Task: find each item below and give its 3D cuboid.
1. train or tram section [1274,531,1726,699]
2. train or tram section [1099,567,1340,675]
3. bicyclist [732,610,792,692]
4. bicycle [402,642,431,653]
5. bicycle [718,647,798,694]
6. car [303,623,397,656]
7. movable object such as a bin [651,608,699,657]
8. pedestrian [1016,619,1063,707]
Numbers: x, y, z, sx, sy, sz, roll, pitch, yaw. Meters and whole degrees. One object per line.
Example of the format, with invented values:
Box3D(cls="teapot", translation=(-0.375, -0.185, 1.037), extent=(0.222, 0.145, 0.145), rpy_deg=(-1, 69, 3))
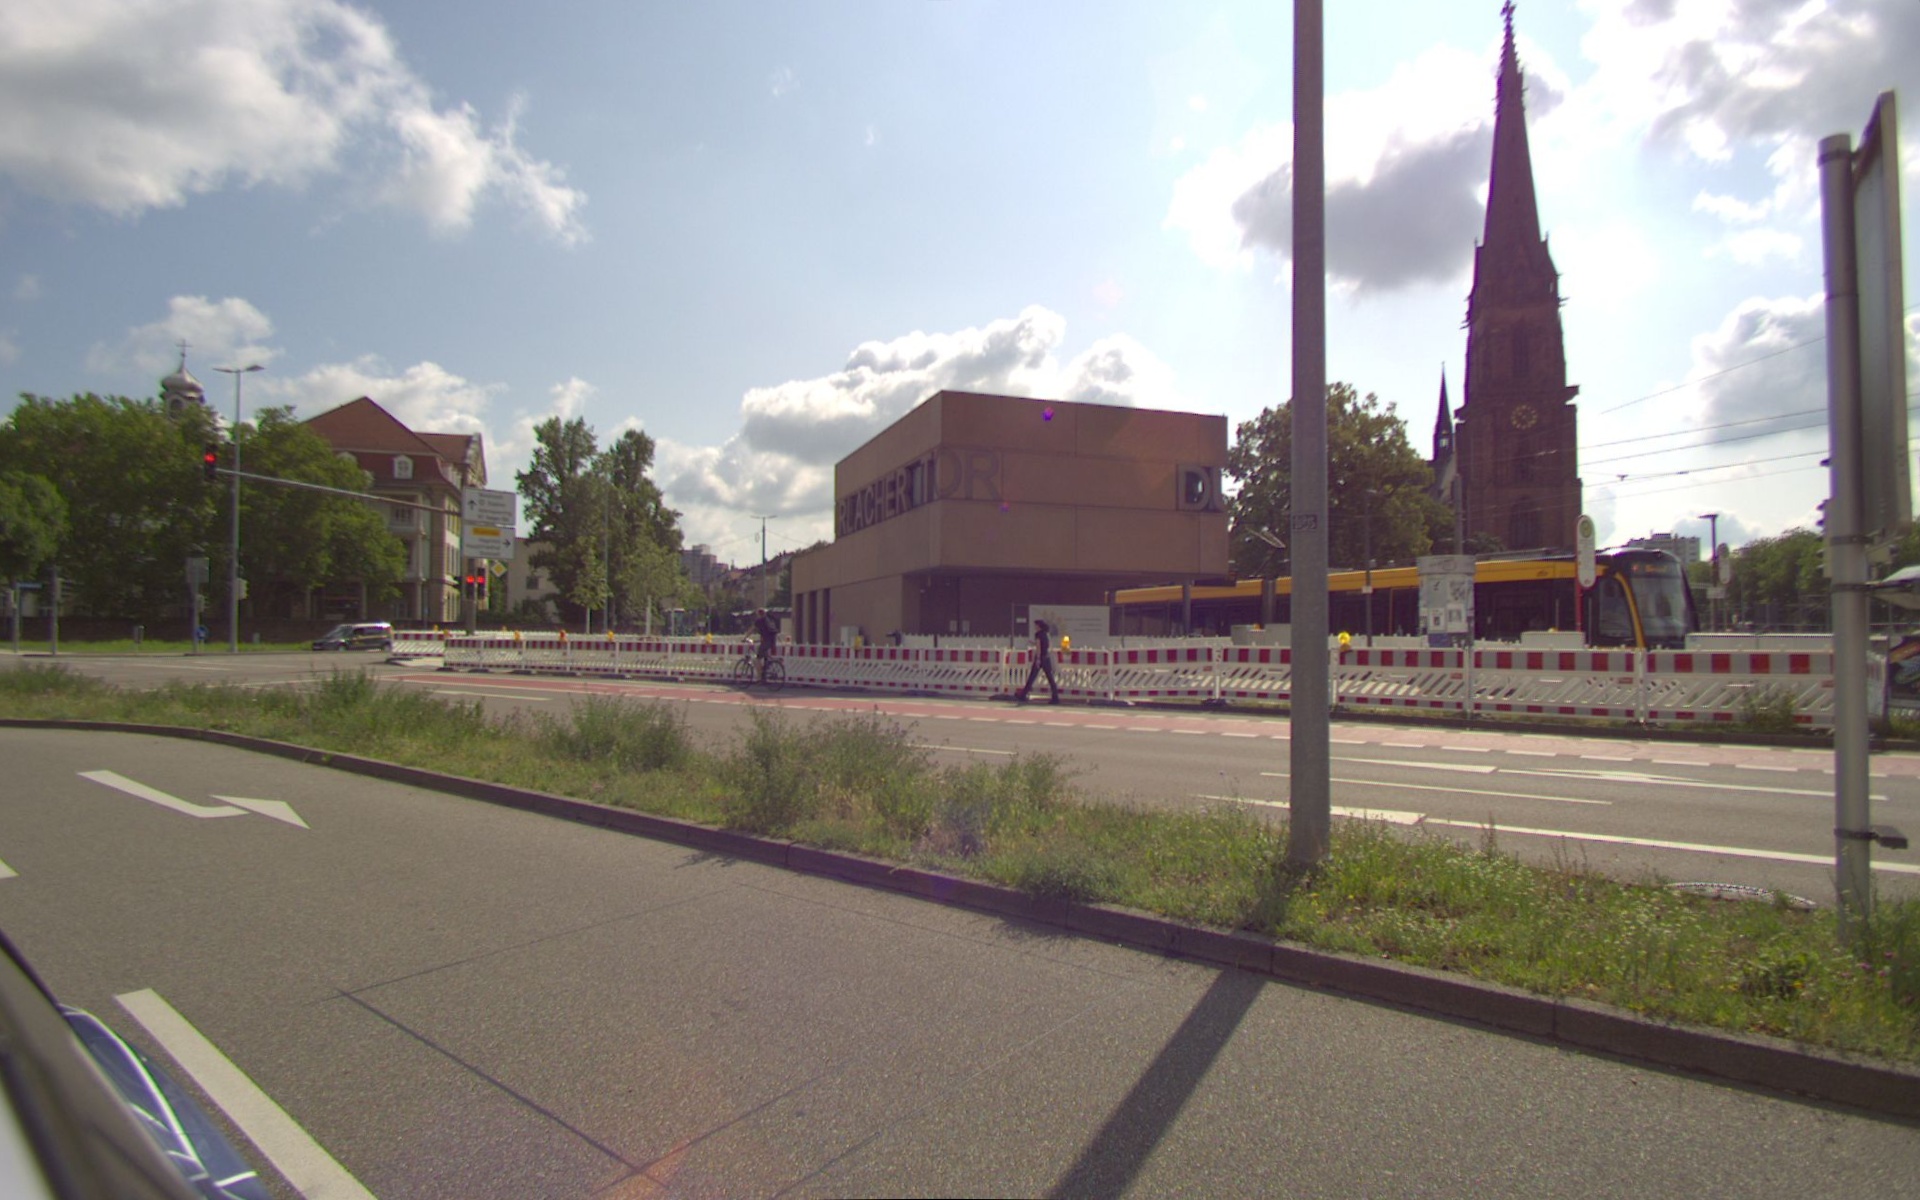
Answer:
Box3D(cls="train or tram section", translation=(13.705, 0.530, 27.976), extent=(2.622, 3.599, 12.452), rpy_deg=(1, -2, -19))
Box3D(cls="train or tram section", translation=(9.533, 0.894, 39.733), extent=(2.585, 3.591, 12.452), rpy_deg=(1, -2, -20))
Box3D(cls="bicyclist", translation=(-4.548, 1.161, 23.257), extent=(1.157, 1.836, 0.803), rpy_deg=(-1, -2, 37))
Box3D(cls="bicycle", translation=(-45.145, 3.927, 84.031), extent=(2.025, 0.867, 0.861), rpy_deg=(2, -1, -31))
Box3D(cls="bicycle", translation=(-4.653, 1.603, 23.261), extent=(2.014, 1.009, 0.611), rpy_deg=(-1, -2, 36))
Box3D(cls="car", translation=(-35.598, 2.328, 59.203), extent=(1.839, 1.799, 4.645), rpy_deg=(-2, -3, 17))
Box3D(cls="movable object such as a bin", translation=(-17.949, 2.059, 63.561), extent=(1.965, 2.972, 4.465), rpy_deg=(2, -3, -28))
Box3D(cls="pedestrian", translation=(1.578, 1.222, 19.990), extent=(0.640, 1.694, 0.729), rpy_deg=(-2, -3, 38))
